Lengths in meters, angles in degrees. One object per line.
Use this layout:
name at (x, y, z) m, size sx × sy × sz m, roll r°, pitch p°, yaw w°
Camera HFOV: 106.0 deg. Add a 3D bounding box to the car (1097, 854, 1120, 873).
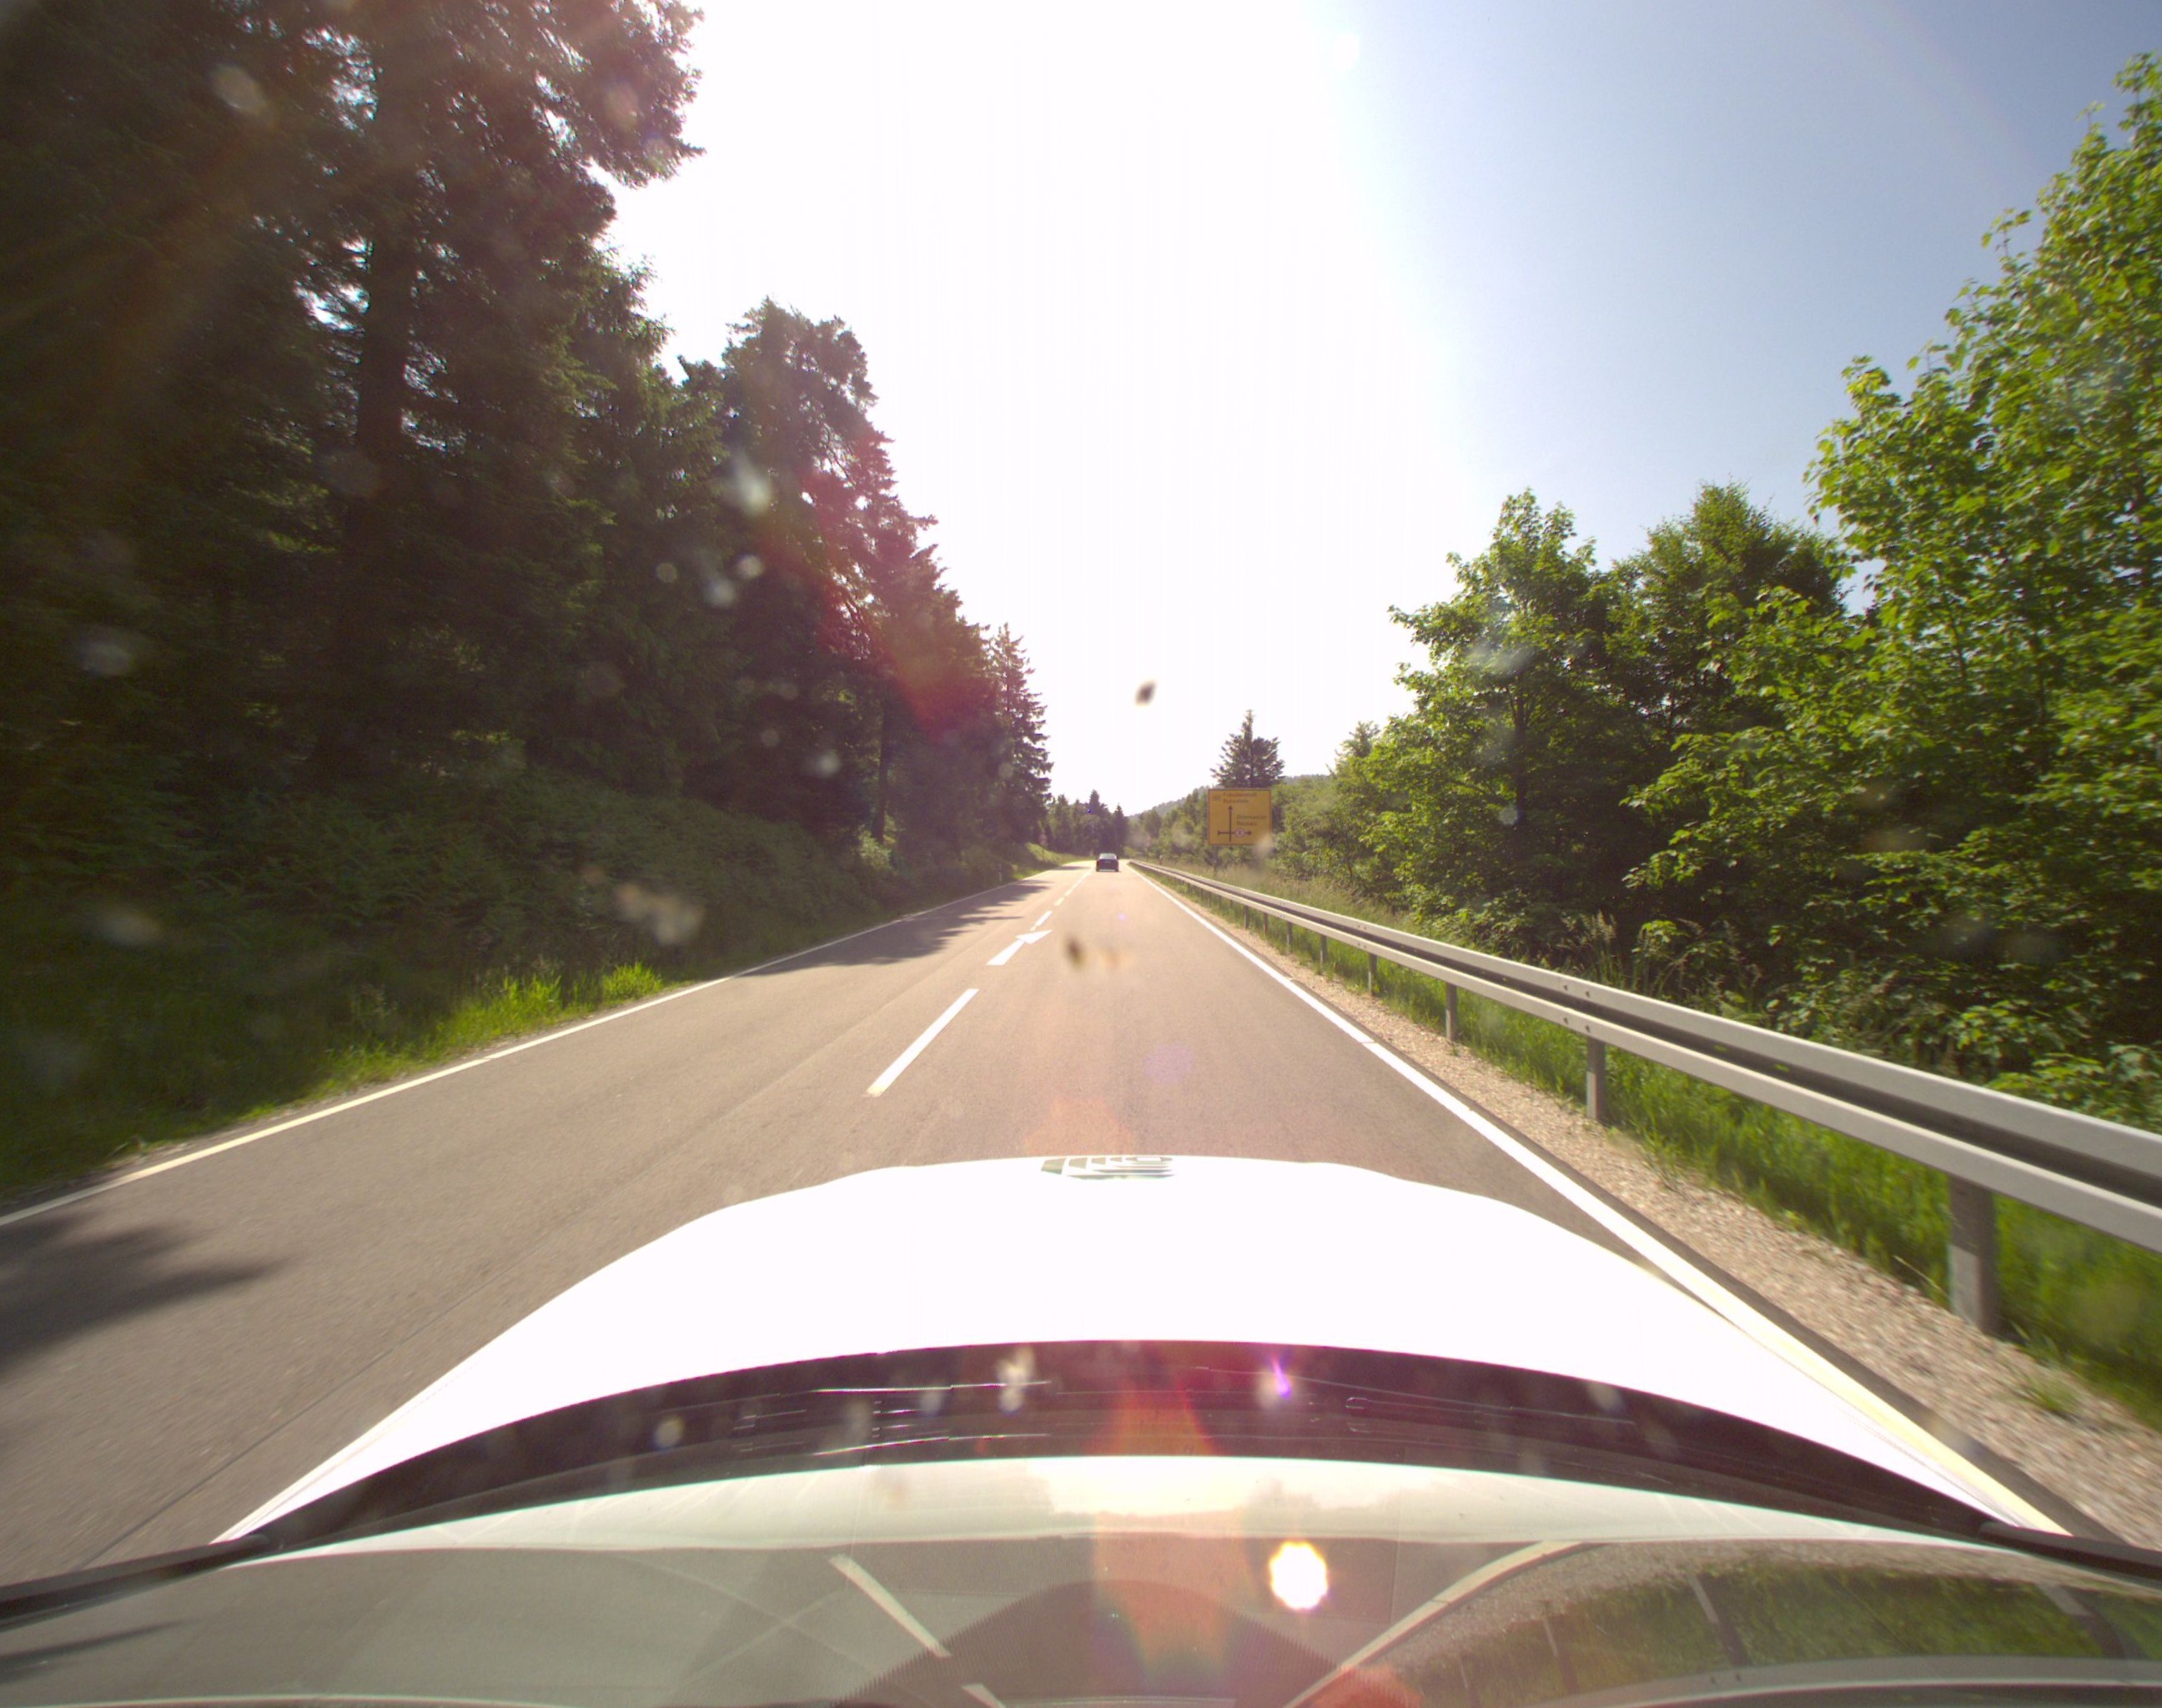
car at (2.212, 0.710, 64.437) m, size 1.768 × 1.442 × 3.712 m, roll 0°, pitch 0°, yaw 3°
